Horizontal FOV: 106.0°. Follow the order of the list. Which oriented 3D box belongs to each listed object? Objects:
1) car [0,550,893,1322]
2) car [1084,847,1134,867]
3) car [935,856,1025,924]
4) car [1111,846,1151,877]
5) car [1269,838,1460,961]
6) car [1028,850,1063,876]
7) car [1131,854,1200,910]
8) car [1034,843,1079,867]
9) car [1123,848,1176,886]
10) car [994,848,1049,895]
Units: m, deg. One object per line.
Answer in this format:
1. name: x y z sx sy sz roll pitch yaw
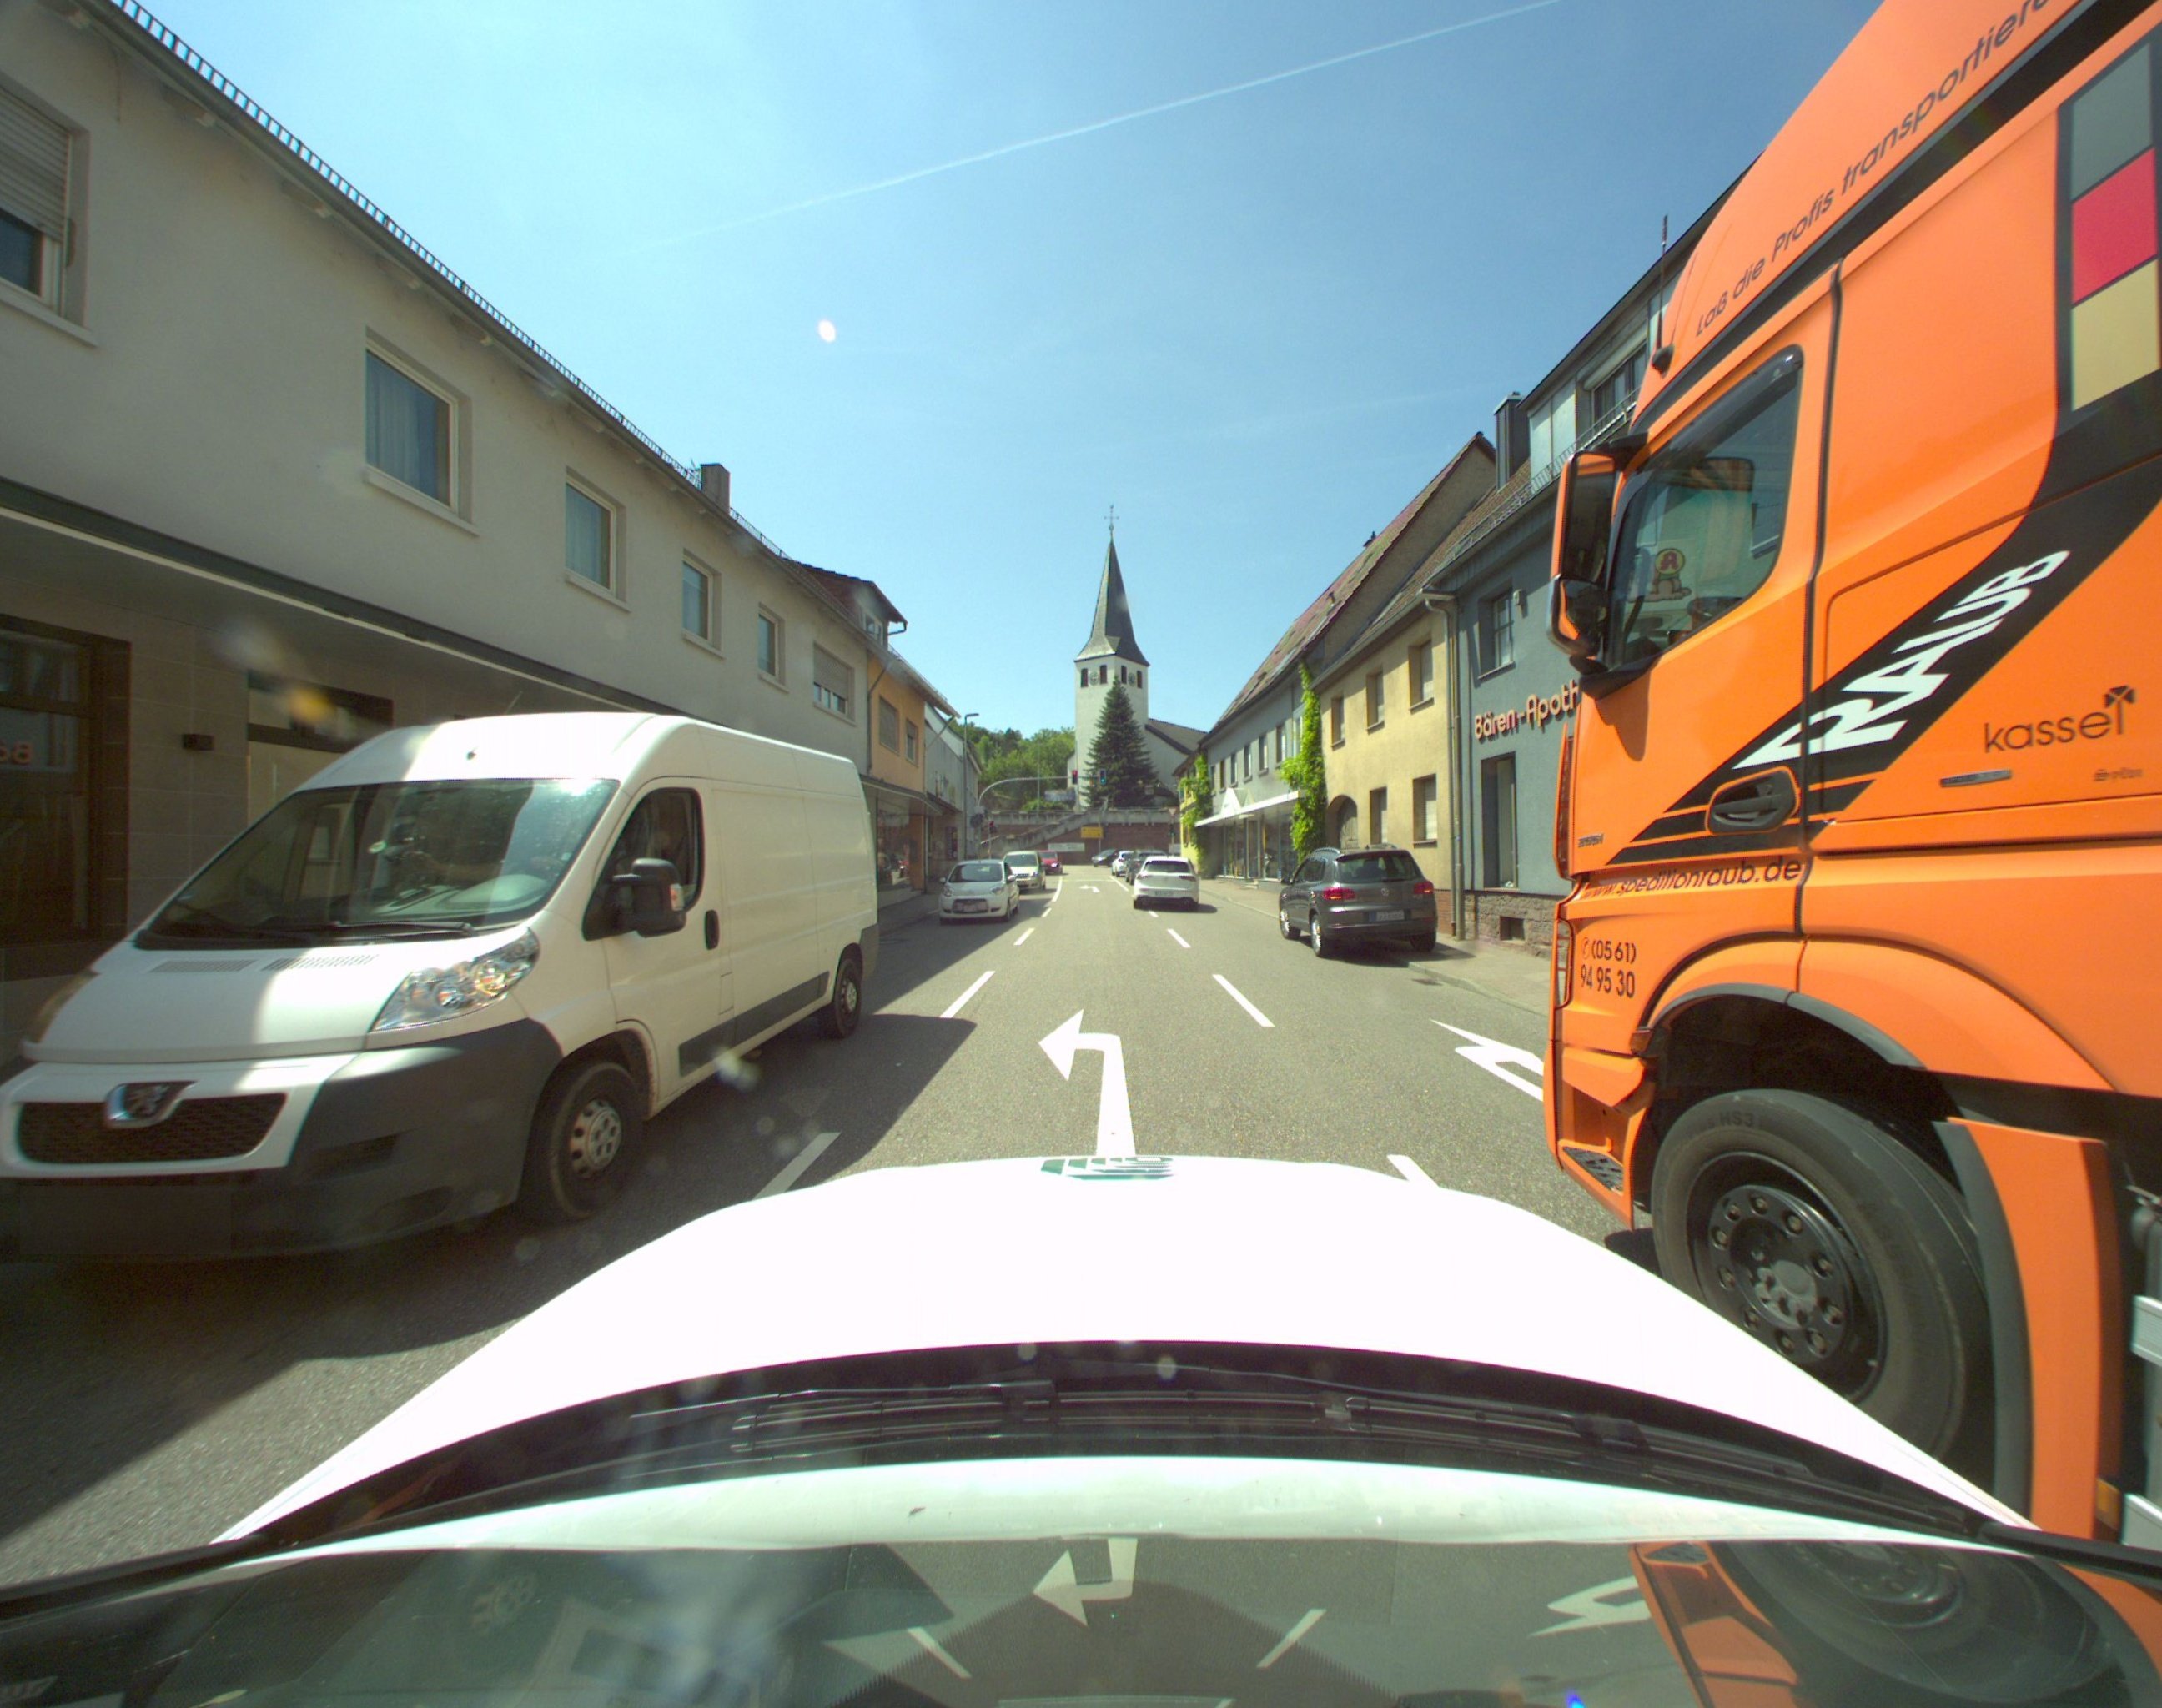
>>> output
1. car: -3.111 0.293 5.468 2.131 2.569 5.397 -2 0 3
2. car: 2.251 0.218 65.108 3.842 1.422 1.702 -3 1 -43
3. car: -2.382 0.801 19.963 1.590 1.455 3.449 -2 0 2
4. car: 2.859 0.392 47.238 1.944 1.582 4.323 0 2 -2
5. car: 4.578 0.667 13.865 1.985 1.708 4.105 -2 0 3
6. car: -2.077 0.506 48.752 1.711 1.408 4.287 -3 1 2
7. car: 2.428 0.725 23.094 1.773 1.458 3.871 0 0 7
8. car: -2.231 0.135 73.825 3.977 2.014 1.998 2 -1 -2
9. car: 3.092 0.558 37.669 1.944 1.582 4.323 0 2 -2
10. car: -2.270 0.634 31.835 1.673 1.617 3.823 -2 1 2
